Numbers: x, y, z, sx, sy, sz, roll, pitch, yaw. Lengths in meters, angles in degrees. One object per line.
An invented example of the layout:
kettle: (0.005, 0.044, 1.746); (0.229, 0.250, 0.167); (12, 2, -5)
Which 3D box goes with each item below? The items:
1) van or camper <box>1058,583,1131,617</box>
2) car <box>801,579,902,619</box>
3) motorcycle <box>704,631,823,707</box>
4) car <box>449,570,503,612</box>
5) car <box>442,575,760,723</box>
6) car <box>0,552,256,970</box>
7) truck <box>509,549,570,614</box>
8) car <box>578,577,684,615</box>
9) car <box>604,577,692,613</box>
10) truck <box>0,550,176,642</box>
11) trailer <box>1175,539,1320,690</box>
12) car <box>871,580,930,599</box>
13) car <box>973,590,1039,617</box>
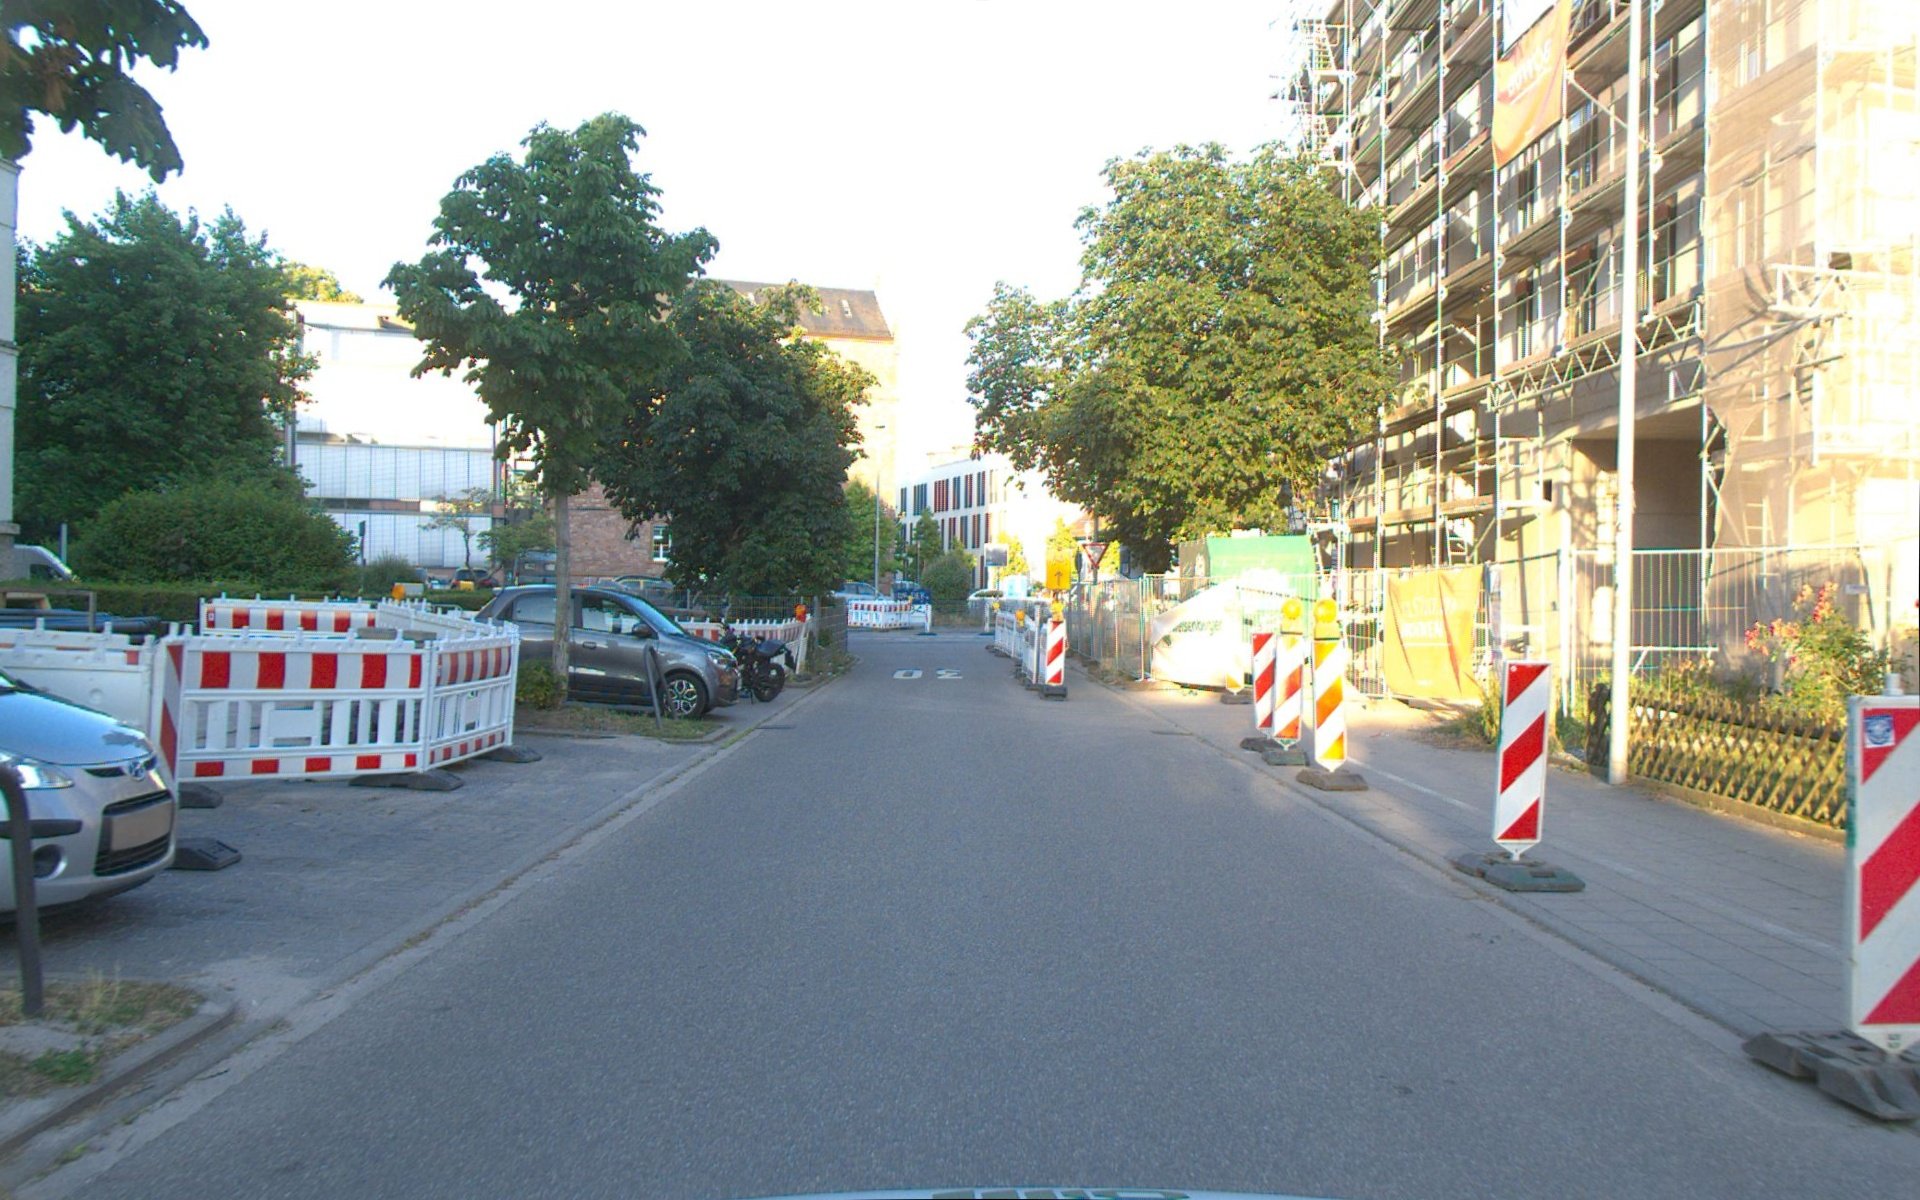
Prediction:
van or camper: (9.459, 0.010, 116.462); (4.892, 2.280, 1.676); (1, 0, -22)
car: (-4.835, -0.047, 73.493); (4.205, 1.738, 1.693); (0, 0, -20)
motorcycle: (-2.881, 1.005, 24.479); (0.527, 1.038, 2.208); (3, 0, 28)
car: (-20.607, -0.368, 70.342); (1.964, 1.722, 3.977); (0, 0, -20)
car: (-4.448, 0.594, 20.874); (3.550, 1.584, 1.693); (4, 0, -1)
car: (-5.124, 0.583, 7.113); (3.405, 1.593, 1.727); (2, -1, -4)
truck: (-18.121, -0.790, 71.105); (2.297, 2.662, 4.949); (0, 0, -17)
car: (-14.506, -0.181, 72.911); (4.510, 1.666, 1.568); (0, 0, -17)
car: (-13.389, -0.220, 70.965); (3.573, 1.530, 1.630); (0, 0, -17)
truck: (-25.179, -0.133, 46.036); (5.945, 2.465, 2.093); (0, 1, -23)
trailer: (5.224, 0.229, 30.573); (1.952, 2.584, 4.186); (0, 0, 0)
car: (-4.306, -0.726, 119.747); (3.927, 1.336, 1.867); (0, 0, -19)
car: (2.786, 0.226, 101.138); (3.687, 1.631, 1.676); (1, 0, -22)
